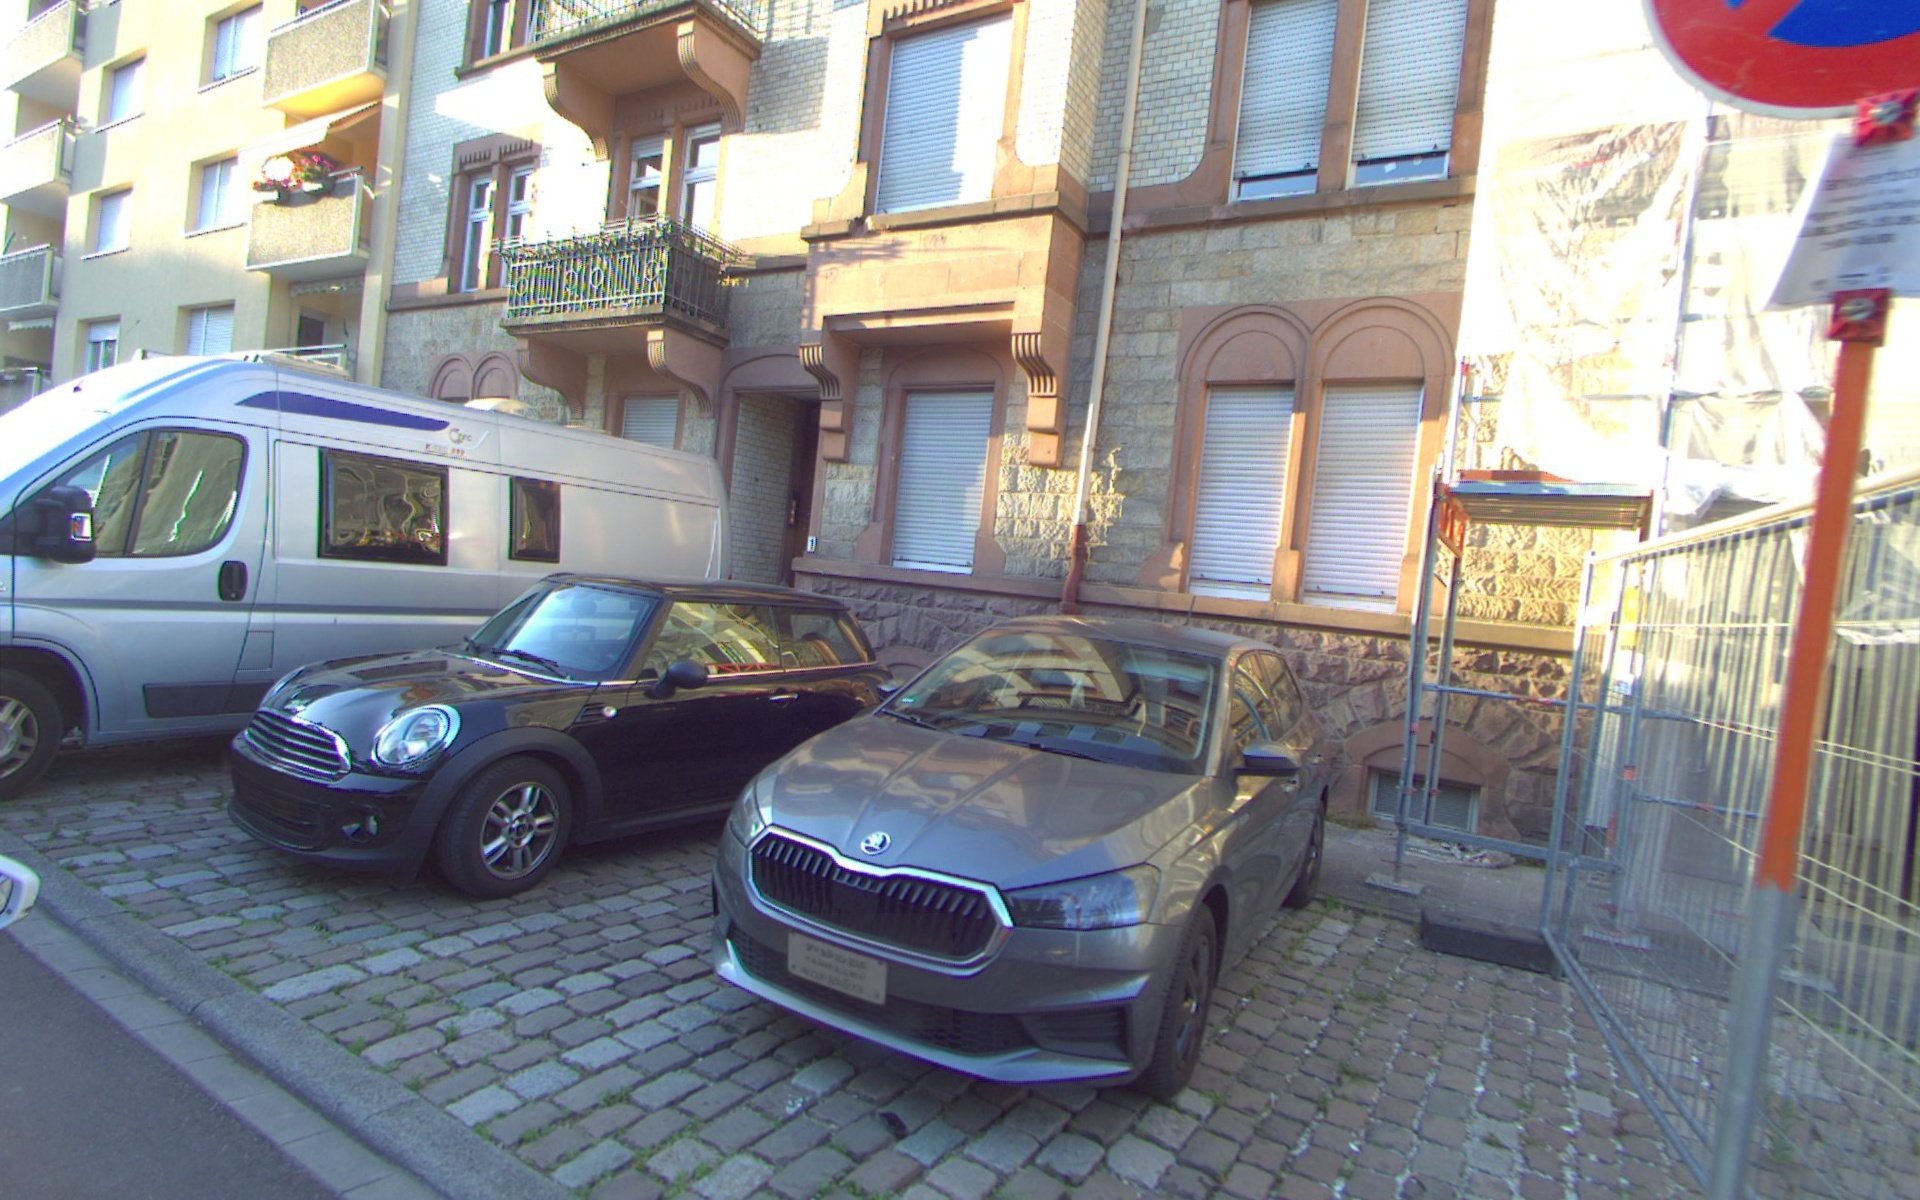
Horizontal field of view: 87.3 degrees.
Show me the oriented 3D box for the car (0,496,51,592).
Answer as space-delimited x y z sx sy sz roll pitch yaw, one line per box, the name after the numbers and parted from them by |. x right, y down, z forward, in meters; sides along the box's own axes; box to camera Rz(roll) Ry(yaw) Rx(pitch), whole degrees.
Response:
-16.423 -1.022 14.754 1.690 1.444 4.239 6 1 31 | car

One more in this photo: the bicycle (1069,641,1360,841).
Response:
1.959 1.039 7.844 1.999 1.182 0.632 7 0 26 | bicycle

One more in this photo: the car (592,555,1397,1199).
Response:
0.664 0.757 4.517 1.984 1.536 3.991 6 2 27 | car

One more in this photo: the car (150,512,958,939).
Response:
-1.855 0.473 5.739 1.758 1.505 3.934 5 1 33 | car

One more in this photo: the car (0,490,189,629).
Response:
-11.181 -0.511 10.973 1.803 1.473 3.990 7 2 28 | car

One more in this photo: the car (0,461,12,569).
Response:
-18.669 -1.611 16.019 1.966 2.171 4.715 7 -1 30 | car

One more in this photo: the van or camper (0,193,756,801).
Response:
-4.347 -0.373 6.929 2.074 2.802 5.940 7 -1 31 | van or camper

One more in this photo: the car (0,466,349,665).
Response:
-8.824 -0.349 9.948 1.741 1.750 4.443 7 1 25 | car
